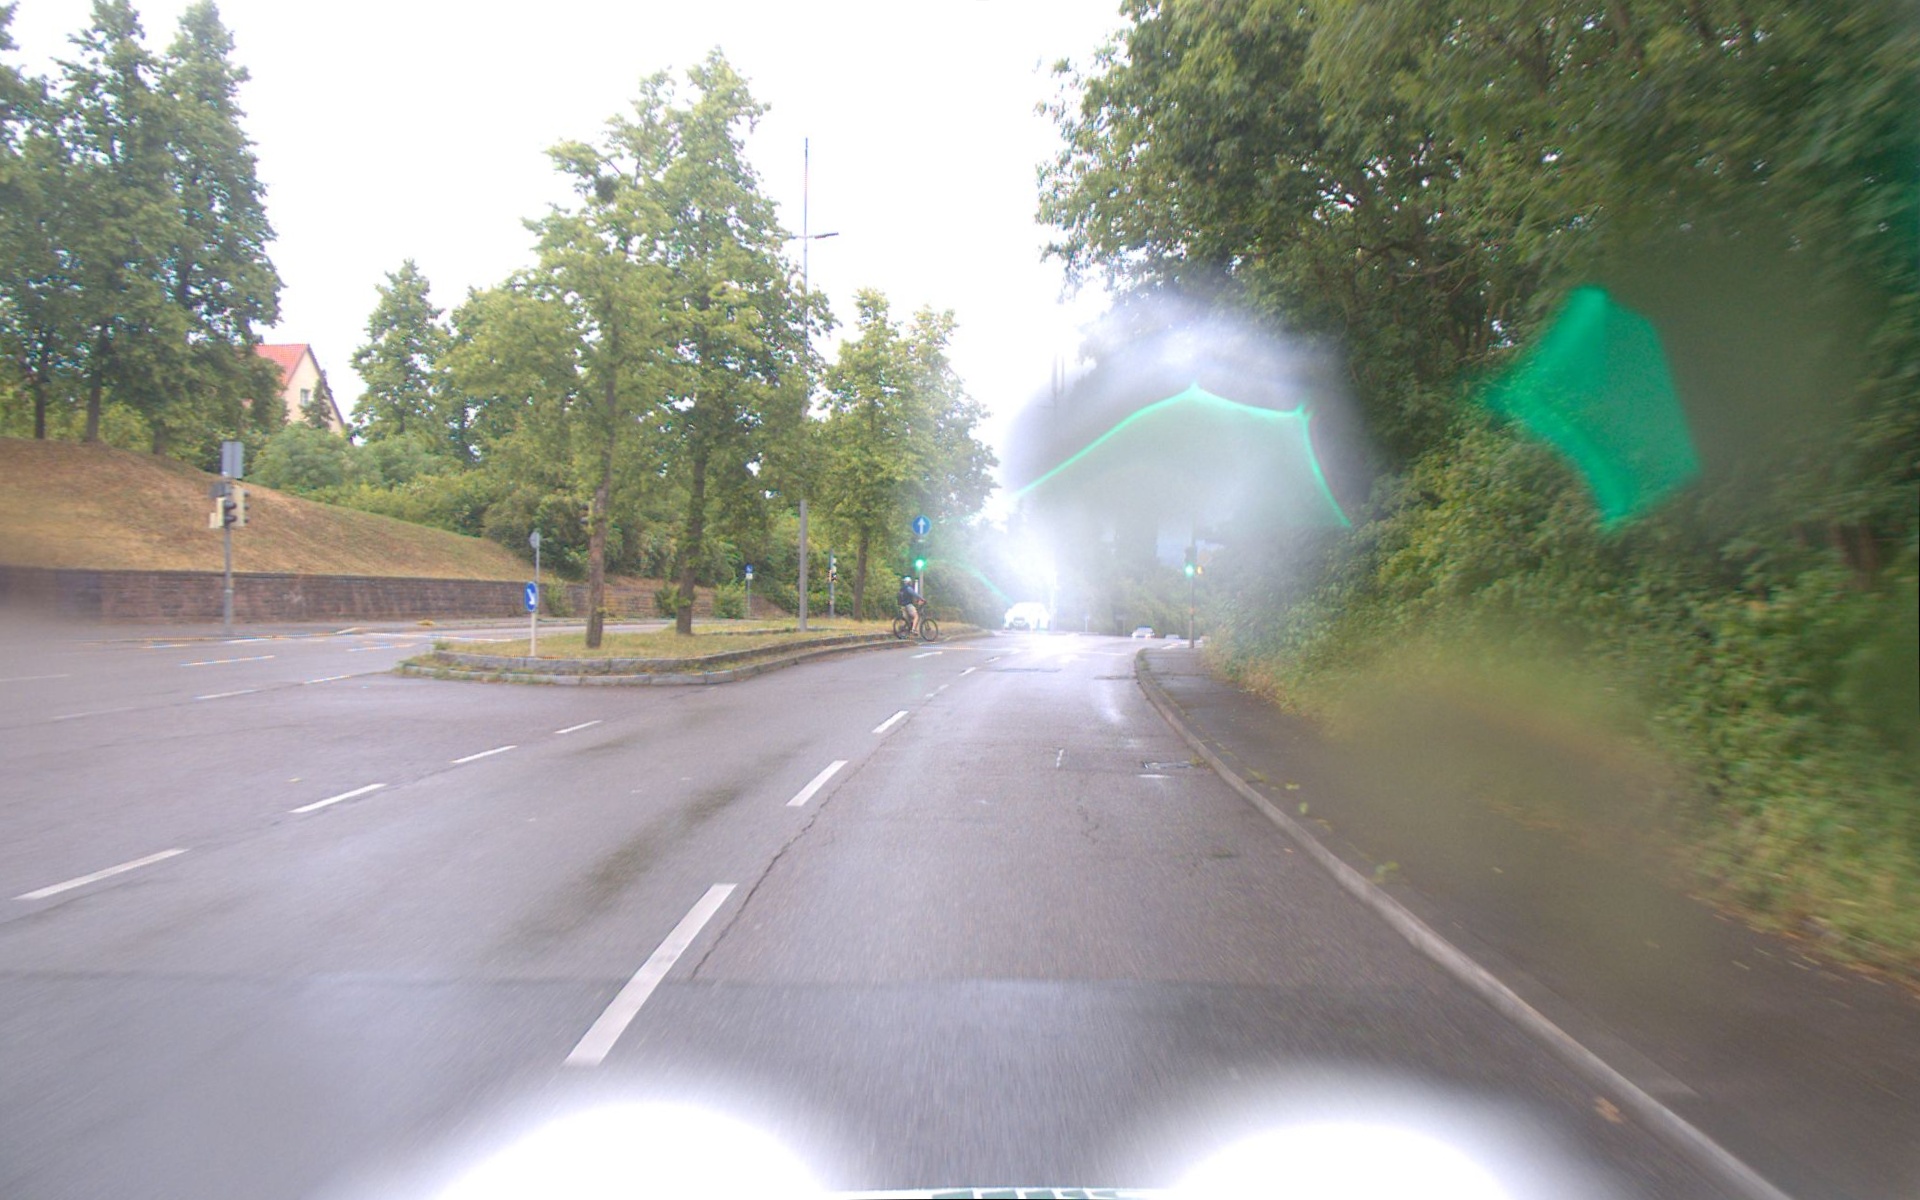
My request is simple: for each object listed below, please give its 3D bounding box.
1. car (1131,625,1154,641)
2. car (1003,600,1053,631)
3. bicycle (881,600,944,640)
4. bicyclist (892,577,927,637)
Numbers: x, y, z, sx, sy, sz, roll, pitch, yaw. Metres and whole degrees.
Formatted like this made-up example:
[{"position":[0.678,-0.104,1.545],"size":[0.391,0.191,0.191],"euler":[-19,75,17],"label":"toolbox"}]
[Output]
[{"position":[17.530,3.169,158.777],"size":[1.740,1.498,4.648],"euler":[2,-1,12],"label":"car"},{"position":[3.990,0.939,96.259],"size":[1.904,1.664,5.008],"euler":[1,-1,15],"label":"car"},{"position":[-1.437,0.606,50.166],"size":[0.544,1.163,2.126],"euler":[1,-1,43],"label":"bicycle"},{"position":[-1.516,0.217,50.069],"size":[0.713,1.783,0.796],"euler":[-3,-4,44],"label":"bicyclist"}]
